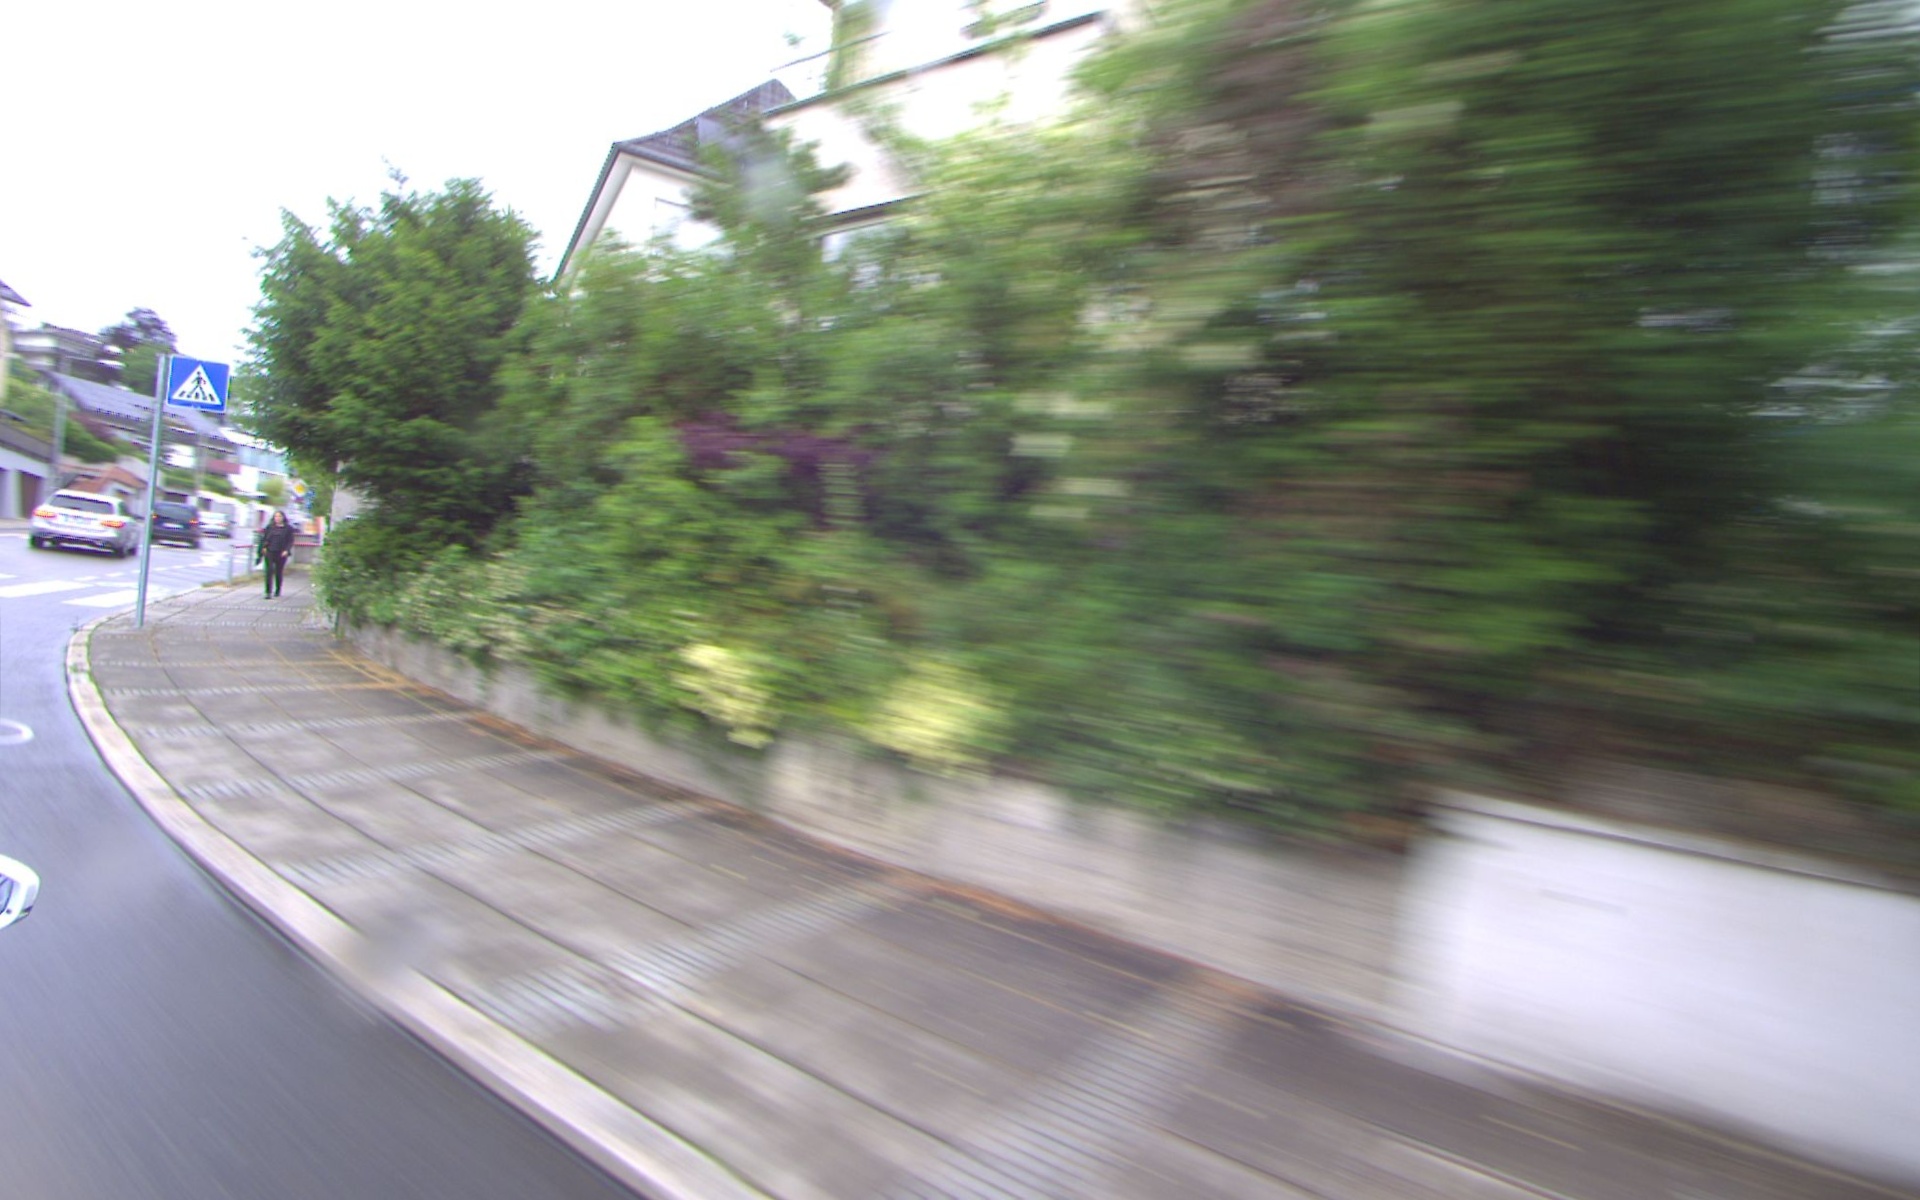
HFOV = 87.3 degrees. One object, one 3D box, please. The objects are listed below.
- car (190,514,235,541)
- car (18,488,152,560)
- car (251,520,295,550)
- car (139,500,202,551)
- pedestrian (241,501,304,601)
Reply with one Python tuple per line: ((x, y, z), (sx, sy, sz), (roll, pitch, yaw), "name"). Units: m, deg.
((-44.094, -4.265, 59.419), (1.812, 1.312, 3.964), (7, 0, -33), "car")
((-21.775, -1.916, 25.199), (1.800, 1.377, 3.964), (8, 0, -32), "car")
((-38.294, -3.634, 56.176), (1.759, 1.394, 4.311), (7, 0, -32), "car")
((-33.514, -3.179, 42.767), (1.814, 1.842, 3.960), (6, 0, -36), "car")
((-12.813, -0.908, 18.782), (0.796, 1.745, 1.052), (4, 2, -30), "pedestrian")
